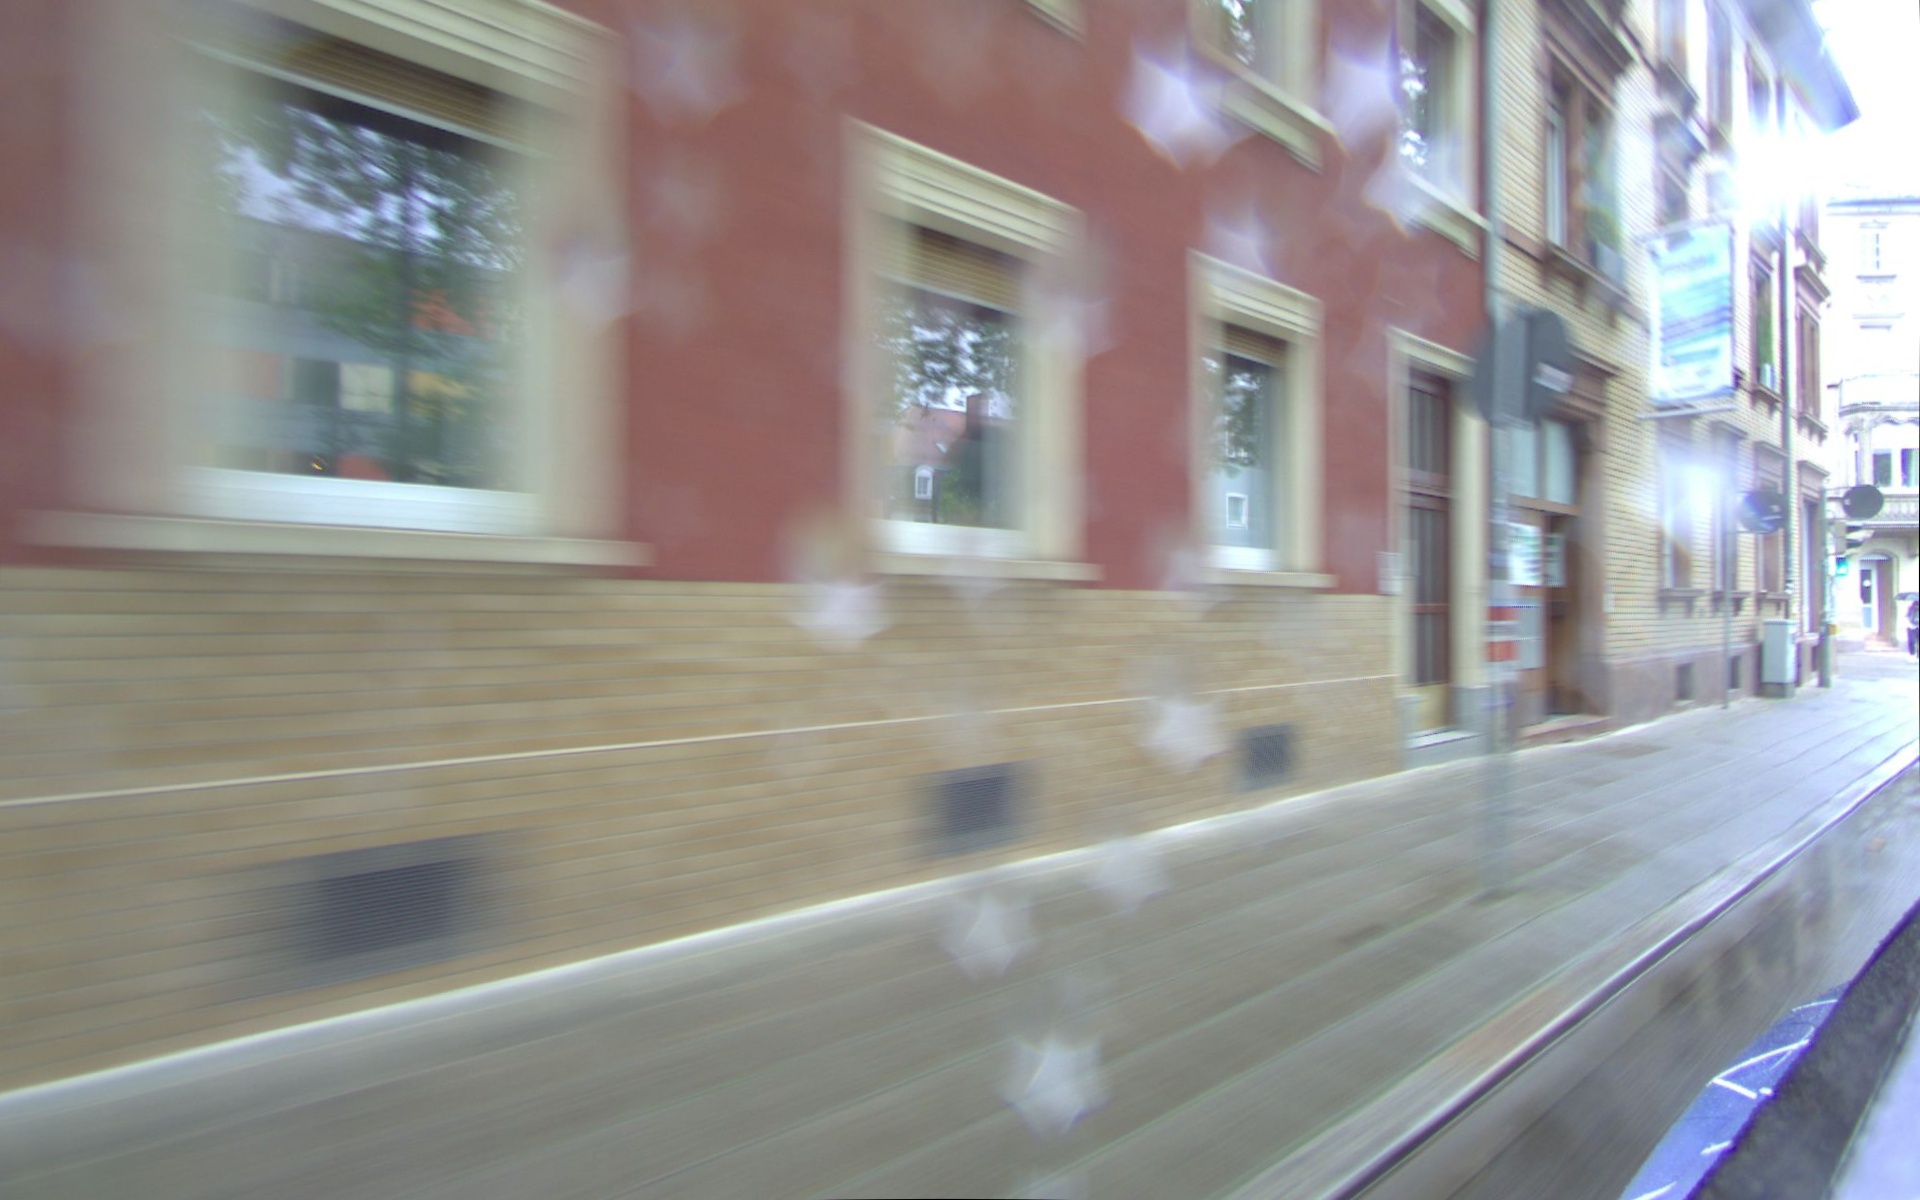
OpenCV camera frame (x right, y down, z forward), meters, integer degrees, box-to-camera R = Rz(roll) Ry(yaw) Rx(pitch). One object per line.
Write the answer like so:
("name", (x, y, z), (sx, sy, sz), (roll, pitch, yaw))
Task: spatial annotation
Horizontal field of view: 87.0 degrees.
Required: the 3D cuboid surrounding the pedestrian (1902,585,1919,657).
("pedestrian", (26.517, 0.587, 27.741), (0.913, 1.936, 0.787), (1, 3, -41))
